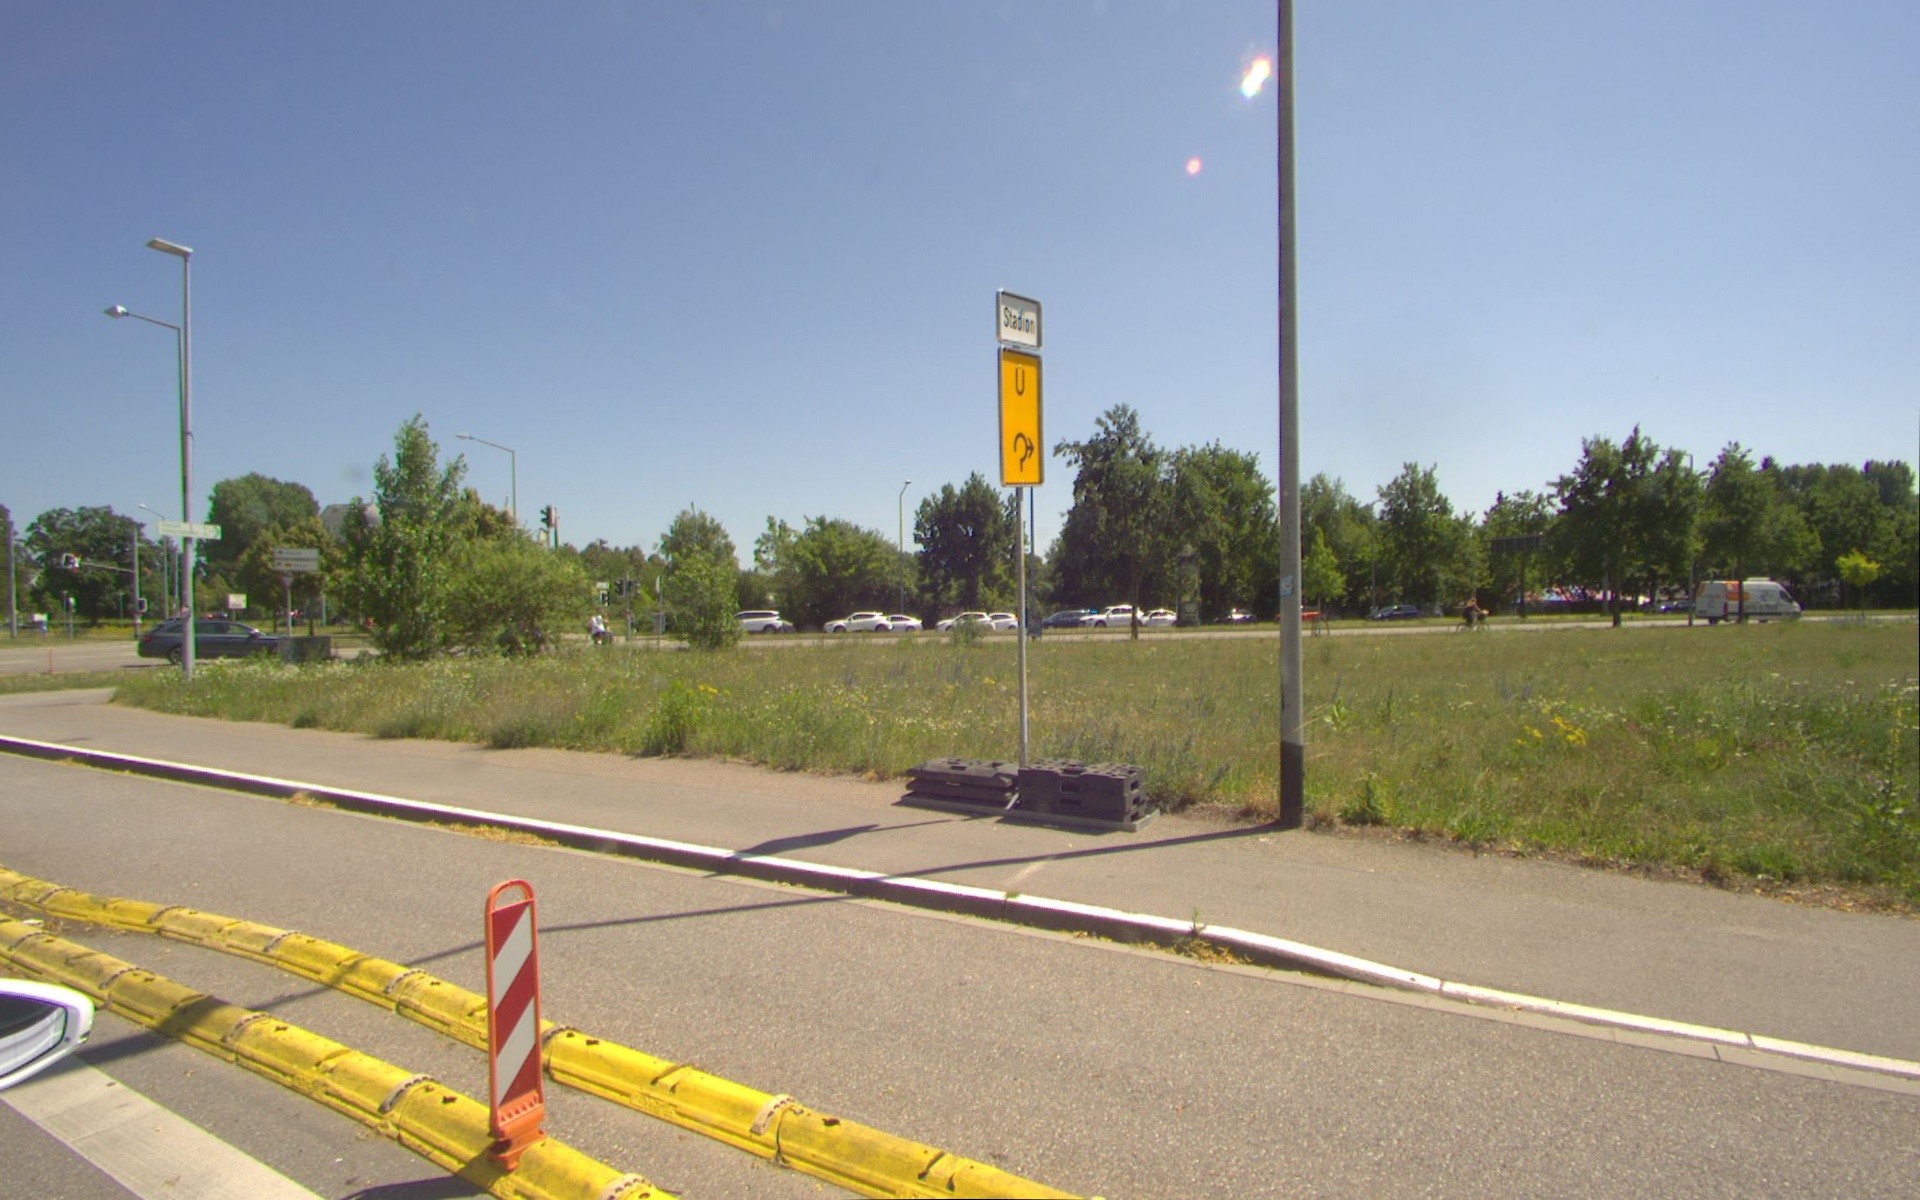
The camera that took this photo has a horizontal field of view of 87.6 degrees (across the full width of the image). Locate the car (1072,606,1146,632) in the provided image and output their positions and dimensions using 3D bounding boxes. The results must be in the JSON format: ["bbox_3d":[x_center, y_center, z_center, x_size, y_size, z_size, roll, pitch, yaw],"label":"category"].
[{"bbox_3d":[9.561,1.229,64.347,4.366,1.612,1.846,0,-2,-16],"label":"car"}]

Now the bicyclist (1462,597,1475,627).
[{"bbox_3d":[22.792,0.553,44.855,0.349,1.336,0.379,0,-1,-9],"label":"bicyclist"}]

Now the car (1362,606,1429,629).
[{"bbox_3d":[32.171,1.321,73.976,4.366,1.612,1.846,0,-2,-16],"label":"car"}]

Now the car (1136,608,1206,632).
[{"bbox_3d":[14.513,1.386,68.985,4.366,1.612,1.846,0,-2,-16],"label":"car"}]

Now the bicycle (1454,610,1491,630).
[{"bbox_3d":[22.972,0.885,44.888,1.564,0.895,0.369,0,-1,-10],"label":"bicycle"}]

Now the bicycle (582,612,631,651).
[{"bbox_3d":[-13.135,1.182,37.331,0.628,1.370,2.896,0,-2,4],"label":"bicycle"}]

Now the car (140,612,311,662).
[{"bbox_3d":[-24.726,1.193,33.799,4.496,1.500,2.052,0,0,-43],"label":"car"}]

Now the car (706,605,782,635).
[{"bbox_3d":[-13.035,1.250,60.464,4.366,1.758,1.846,0,-2,-16],"label":"car"}]

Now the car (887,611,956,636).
[{"bbox_3d":[-2.586,1.570,66.923,4.366,1.612,1.846,0,-2,-16],"label":"car"}]

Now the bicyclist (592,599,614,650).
[{"bbox_3d":[-13.333,0.920,37.414,0.597,1.864,0.572,0,-1,2],"label":"bicyclist"}]

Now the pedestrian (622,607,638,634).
[{"bbox_3d":[-20.728,1.278,62.903,0.954,1.681,0.885,0,-1,-16],"label":"pedestrian"}]

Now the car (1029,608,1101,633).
[{"bbox_3d":[6.954,1.367,66.552,4.366,1.612,1.846,0,-2,-16],"label":"car"}]

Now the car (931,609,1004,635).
[{"bbox_3d":[0.472,1.451,64.841,4.366,1.612,1.846,0,-2,-16],"label":"car"}]

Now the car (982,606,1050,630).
[{"bbox_3d":[3.870,1.215,69.173,4.365,1.613,1.845,0,0,-16],"label":"car"}]

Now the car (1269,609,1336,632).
[{"bbox_3d":[24.638,1.474,72.048,4.337,1.612,1.846,0,-2,-16],"label":"car"}]

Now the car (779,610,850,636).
[{"bbox_3d":[-9.435,1.514,64.924,4.366,1.612,1.846,0,-2,-16],"label":"car"}]

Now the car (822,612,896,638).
[{"bbox_3d":[-6.367,1.578,62.891,4.366,1.612,1.846,0,-2,-16],"label":"car"}]

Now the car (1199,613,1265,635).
[{"bbox_3d":[20.022,1.765,73.738,4.366,1.612,1.846,0,-2,-16],"label":"car"}]

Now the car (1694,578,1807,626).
[{"bbox_3d":[48.632,0.178,61.615,6.764,2.864,1.997,0,-1,-18],"label":"car"}]

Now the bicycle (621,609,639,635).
[{"bbox_3d":[-20.687,1.406,62.840,0.967,1.617,2.879,0,-2,-16],"label":"bicycle"}]
